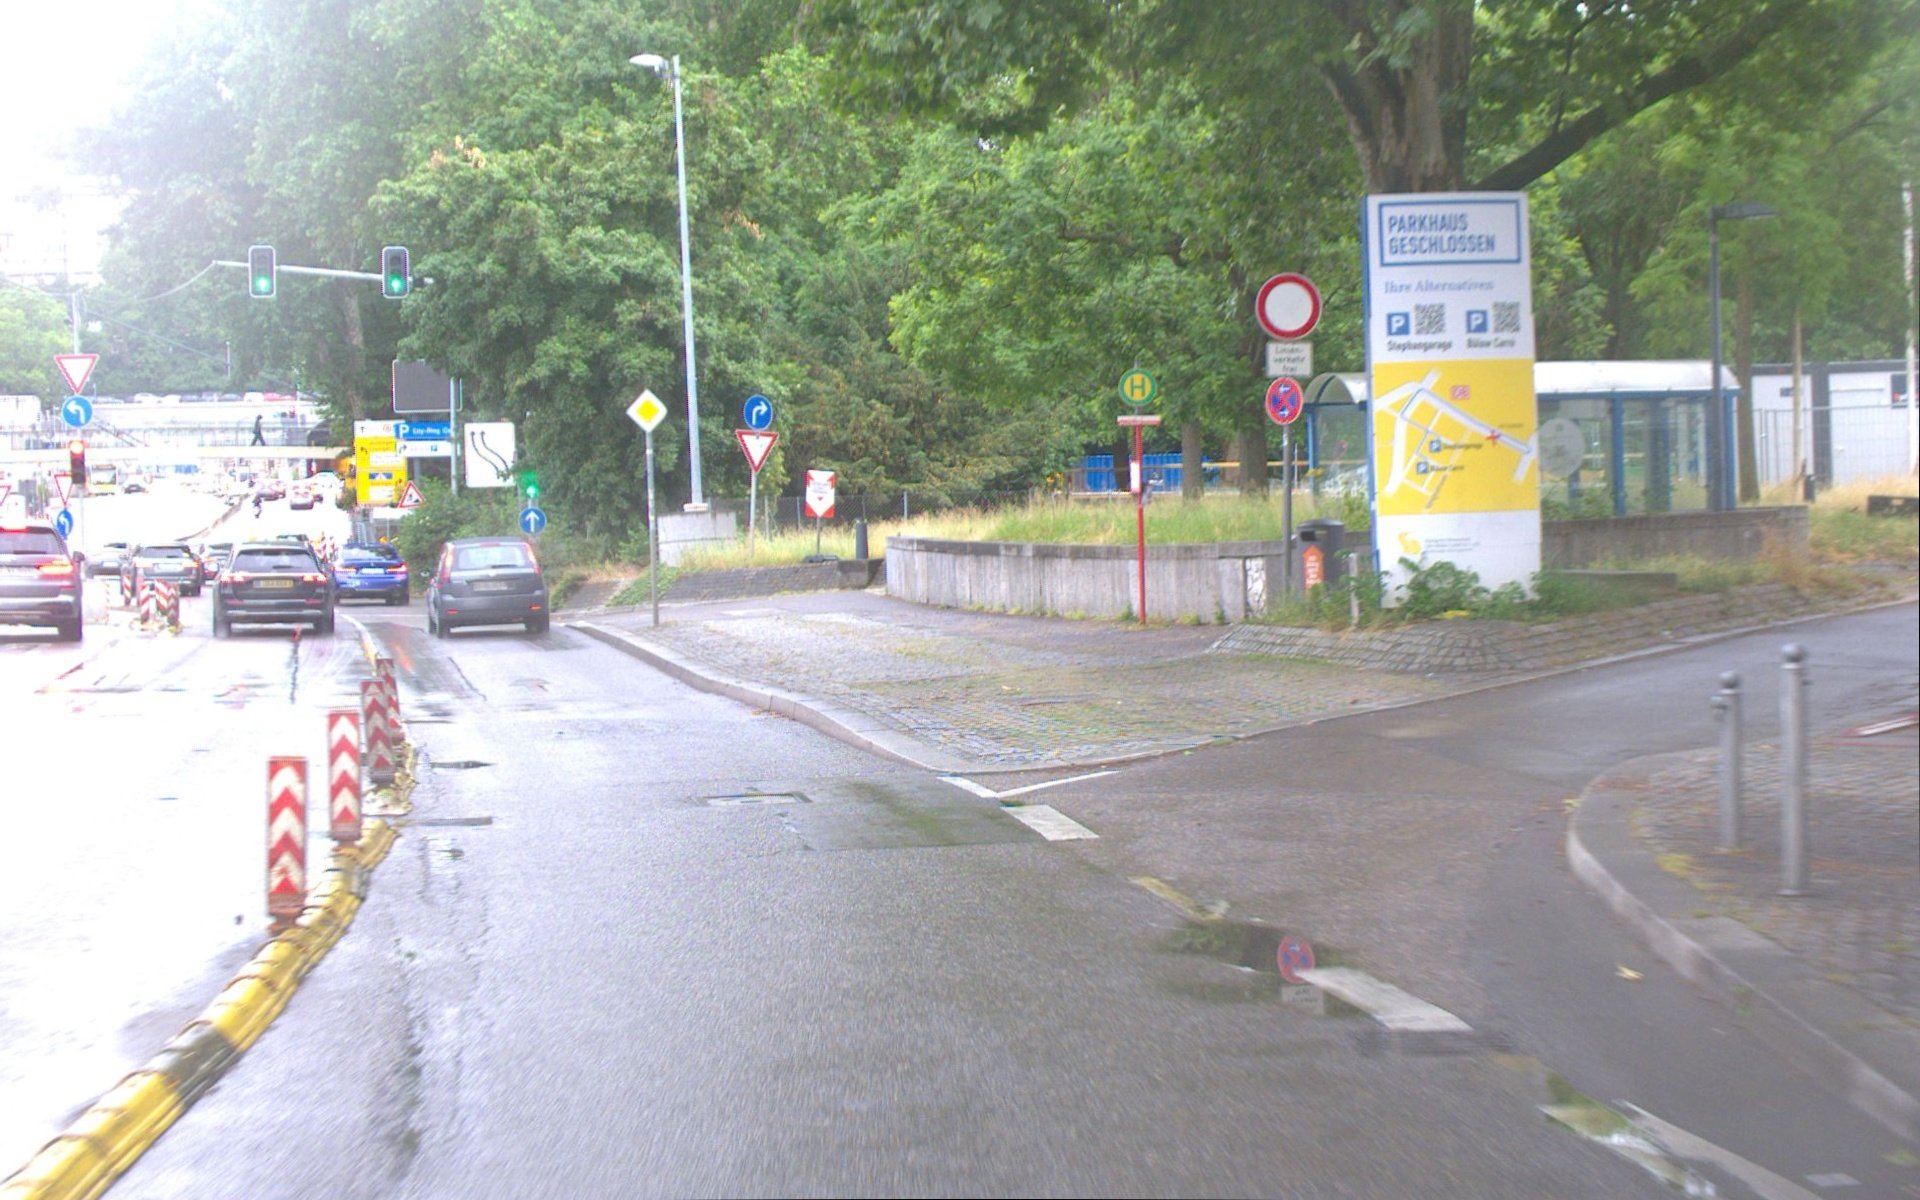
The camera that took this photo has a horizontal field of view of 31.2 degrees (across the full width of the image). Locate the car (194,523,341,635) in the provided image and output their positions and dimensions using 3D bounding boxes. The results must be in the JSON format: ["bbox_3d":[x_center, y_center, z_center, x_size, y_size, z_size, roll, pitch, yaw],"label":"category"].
[{"bbox_3d":[-10.955,-0.364,54.628,1.830,1.680,4.135,-1,1,-5],"label":"car"}]

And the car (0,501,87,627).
[{"bbox_3d":[-14.202,-0.550,51.794,1.993,1.820,4.001,0,1,-14],"label":"car"}]

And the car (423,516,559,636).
[{"bbox_3d":[-6.941,-0.376,51.183,1.851,1.711,4.001,0,1,-6],"label":"car"}]

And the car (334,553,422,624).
[{"bbox_3d":[-13.280,-0.283,78.558,1.674,1.576,3.240,0,1,-4],"label":"car"}]

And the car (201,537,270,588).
[{"bbox_3d":[-23.342,-1.211,110.674,1.634,1.619,3.796,0,1,-20],"label":"car"}]

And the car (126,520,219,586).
[{"bbox_3d":[-20.852,-1.241,91.132,1.903,1.711,4.001,0,1,-6],"label":"car"}]

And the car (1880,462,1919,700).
[{"bbox_3d":[7.808,-0.112,21.464,3.614,1.500,1.731,1,1,35],"label":"car"}]
